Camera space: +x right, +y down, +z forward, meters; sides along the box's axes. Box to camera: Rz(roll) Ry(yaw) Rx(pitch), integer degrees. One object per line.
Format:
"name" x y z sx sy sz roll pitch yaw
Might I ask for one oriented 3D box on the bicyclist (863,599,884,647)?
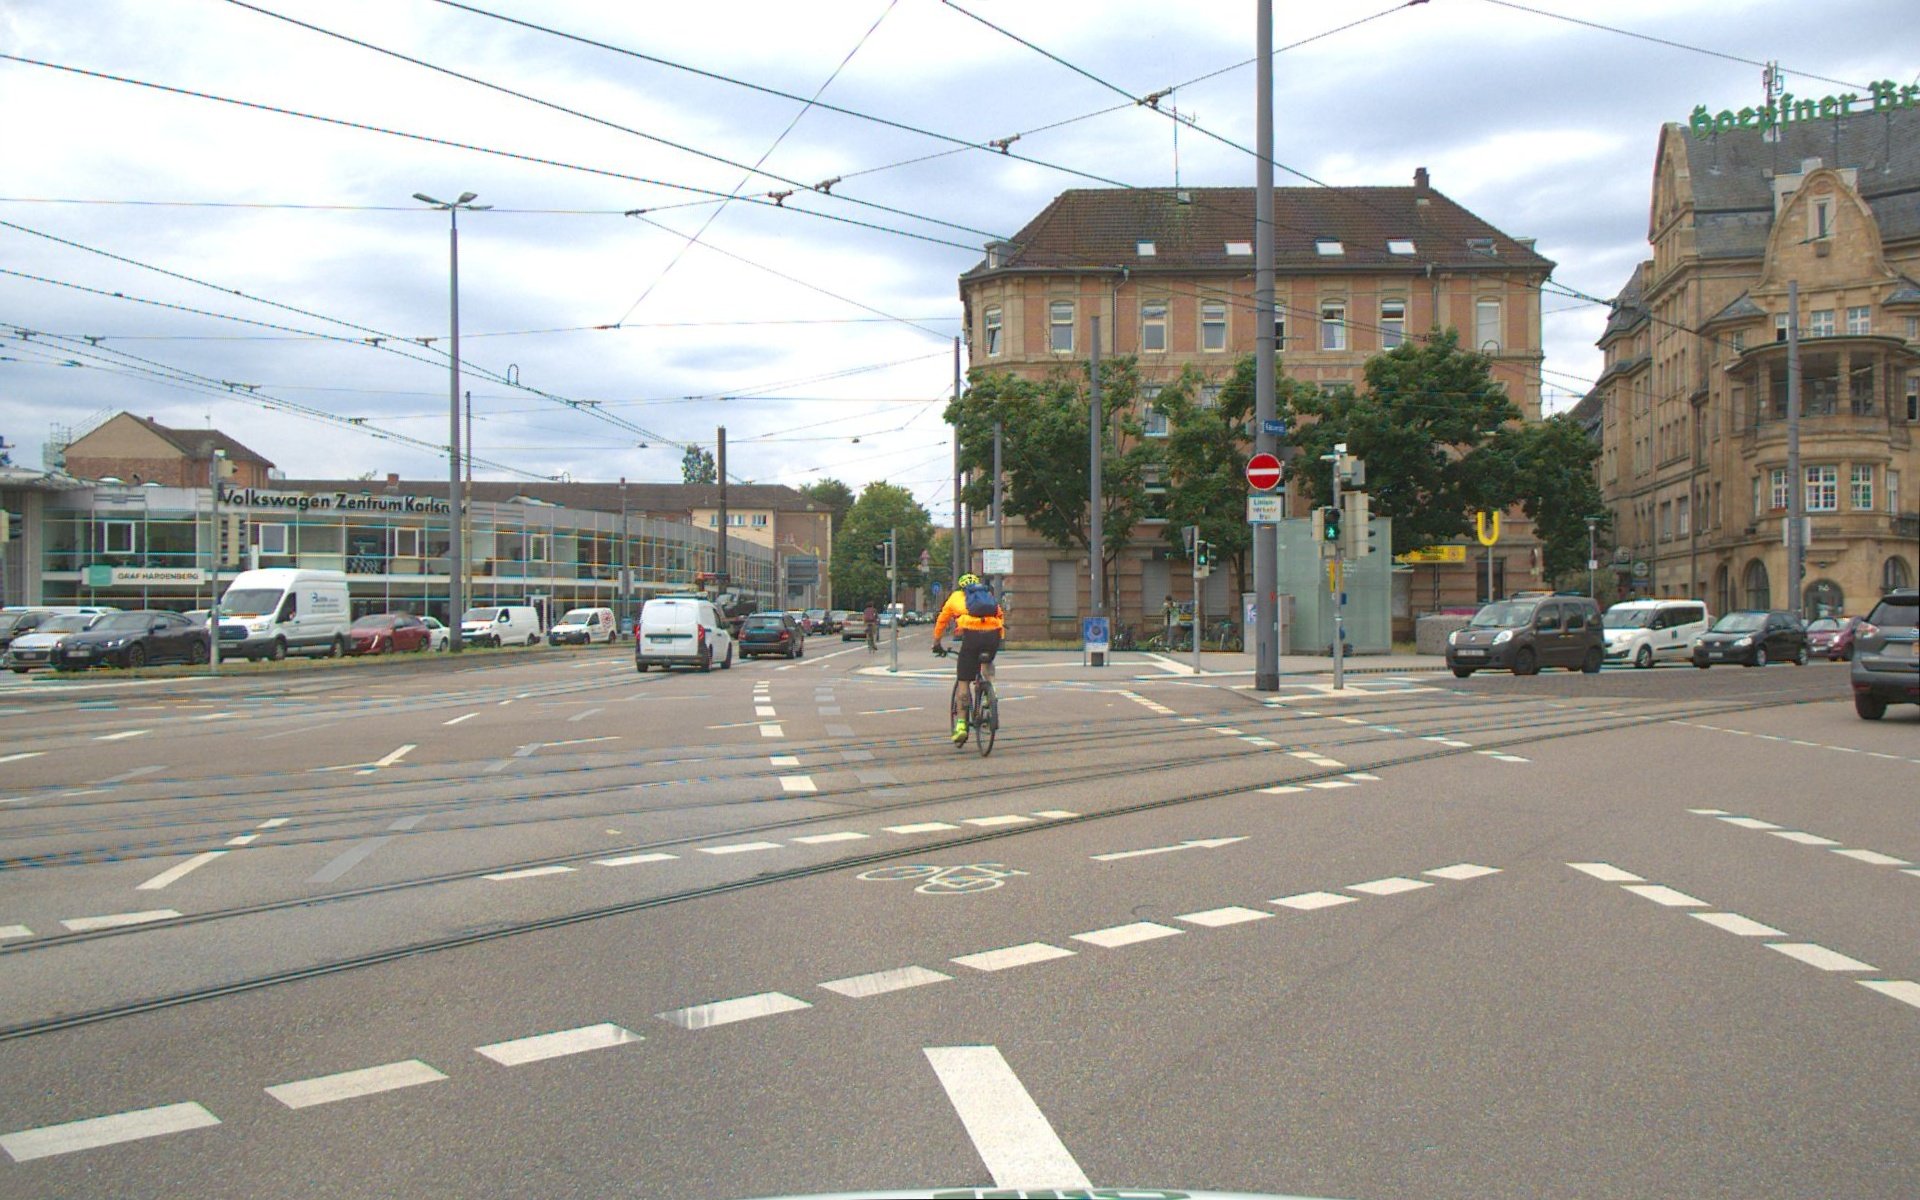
"bicyclist" -3.103 0.822 59.326 0.675 1.738 0.796 0 -1 -10

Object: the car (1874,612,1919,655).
"car" 32.954 1.125 56.477 4.325 1.404 1.725 0 -3 -42

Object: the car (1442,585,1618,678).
"car" 12.636 0.683 36.549 4.344 1.934 1.670 1 -1 -40

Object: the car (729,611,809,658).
"car" -6.043 1.068 52.699 1.952 1.445 4.001 0 0 2

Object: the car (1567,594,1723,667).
"car" 19.190 0.820 46.234 5.049 1.949 1.843 0 -1 -39

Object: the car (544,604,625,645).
"car" -17.792 1.138 78.557 1.951 1.871 4.526 0 0 14

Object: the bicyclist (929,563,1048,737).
"bicyclist" 0.268 0.480 16.464 0.814 1.649 1.315 0 -1 -17

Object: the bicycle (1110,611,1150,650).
"bicycle" 6.215 1.105 60.276 0.937 1.378 3.122 0 -1 15

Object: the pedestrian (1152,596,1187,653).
"pedestrian" 6.444 0.745 50.809 0.895 1.758 0.599 0 -1 -18

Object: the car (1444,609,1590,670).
"car" 14.066 0.973 41.697 3.961 1.467 1.670 1 -1 -40

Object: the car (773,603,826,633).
"car" -10.171 1.140 105.027 1.951 1.871 4.526 0 0 14

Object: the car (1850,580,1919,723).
"car" 13.341 0.647 21.913 1.726 1.786 3.896 1 0 44

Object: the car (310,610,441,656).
"car" -18.921 1.044 53.788 1.951 1.445 4.805 0 0 9

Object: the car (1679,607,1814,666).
"car" 20.489 0.936 43.010 3.961 1.467 1.670 1 -1 -40

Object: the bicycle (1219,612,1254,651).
"bicycle" 10.045 1.154 60.066 0.937 1.378 3.122 0 -1 15

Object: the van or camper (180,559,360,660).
"van or camper" -19.537 0.308 47.217 2.365 2.657 6.053 1 -1 2

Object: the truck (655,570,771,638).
"truck" -13.799 0.301 93.299 2.735 3.611 9.228 0 -1 17

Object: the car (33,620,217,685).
"car" -19.919 1.222 39.704 1.952 1.445 4.663 0 0 2

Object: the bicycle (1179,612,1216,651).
"bicycle" 8.608 1.132 59.911 0.937 1.378 3.122 0 -1 15

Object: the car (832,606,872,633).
"car" -7.756 1.393 119.181 1.951 1.871 4.526 0 0 9

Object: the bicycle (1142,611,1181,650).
"bicycle" 7.339 1.117 60.095 0.937 1.378 3.122 0 -1 15

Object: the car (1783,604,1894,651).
"car" 28.456 0.892 53.557 3.858 1.424 1.842 0 -3 -40

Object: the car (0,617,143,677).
"car" -22.591 1.161 42.174 1.601 1.445 3.738 0 0 2

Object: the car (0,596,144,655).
"car" -32.340 0.906 59.692 4.667 2.049 2.121 1 -1 2

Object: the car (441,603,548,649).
"car" -19.611 1.082 69.926 2.110 1.889 5.452 0 0 11

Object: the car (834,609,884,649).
"car" -5.261 1.522 86.728 1.951 2.049 4.002 1 -1 7

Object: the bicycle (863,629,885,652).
"bicycle" -3.099 1.451 59.307 0.607 0.807 1.588 0 -1 -10

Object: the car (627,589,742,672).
"car" -6.872 0.753 41.686 1.872 1.974 4.133 0 0 5

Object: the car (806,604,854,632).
"car" -8.818 1.226 112.405 1.951 1.871 4.526 0 0 14

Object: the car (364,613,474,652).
"car" -20.789 1.221 63.724 1.951 1.445 4.754 0 0 11

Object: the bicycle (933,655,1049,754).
"bicycle" 0.277 1.005 16.403 0.547 0.863 2.063 0 -1 -17
